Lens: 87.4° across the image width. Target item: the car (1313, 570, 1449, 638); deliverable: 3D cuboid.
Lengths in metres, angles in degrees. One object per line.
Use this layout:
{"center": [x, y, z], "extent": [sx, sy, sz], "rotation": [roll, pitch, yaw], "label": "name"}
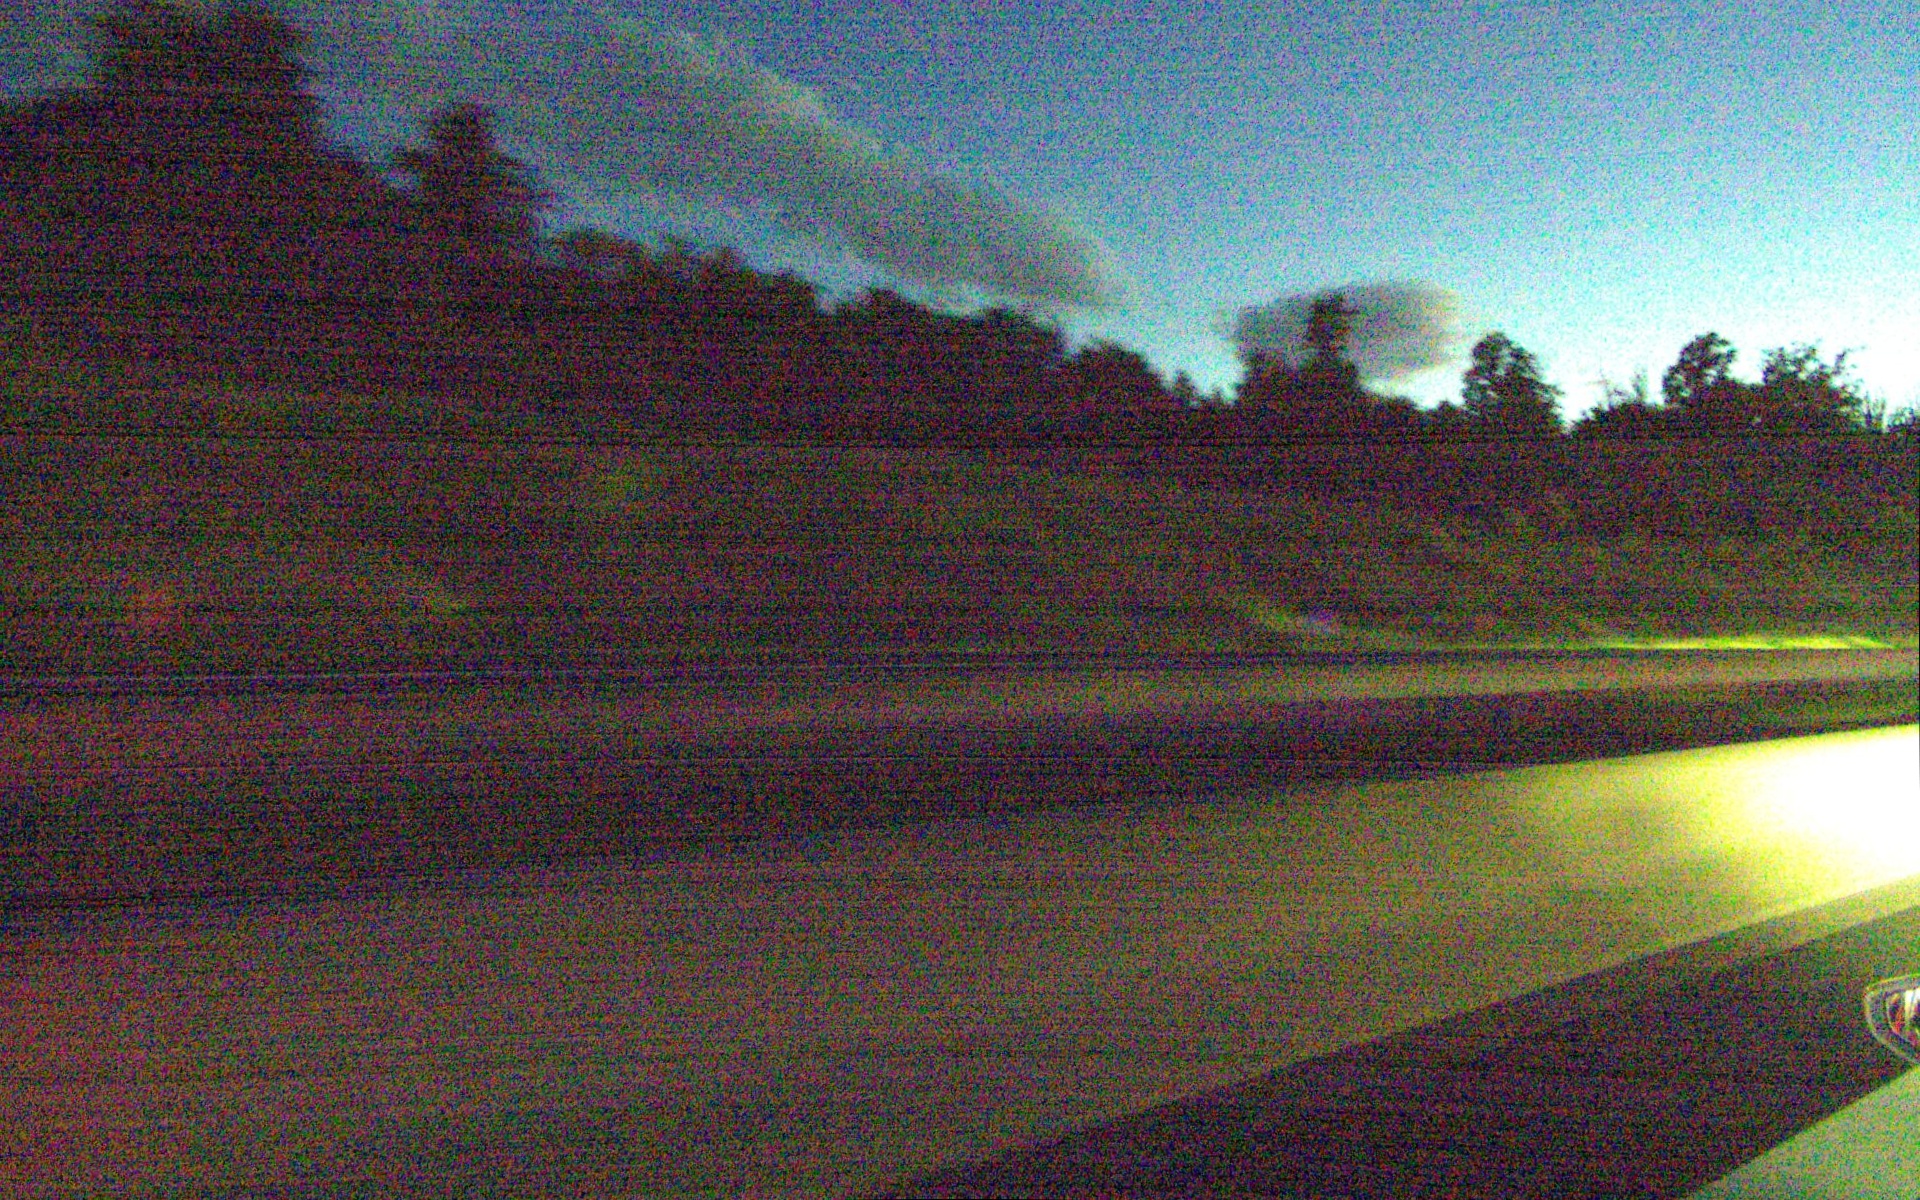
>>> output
{"center": [13.096, 0.197, 31.215], "extent": [3.955, 1.951, 1.983], "rotation": [2, -2, -31], "label": "car"}
